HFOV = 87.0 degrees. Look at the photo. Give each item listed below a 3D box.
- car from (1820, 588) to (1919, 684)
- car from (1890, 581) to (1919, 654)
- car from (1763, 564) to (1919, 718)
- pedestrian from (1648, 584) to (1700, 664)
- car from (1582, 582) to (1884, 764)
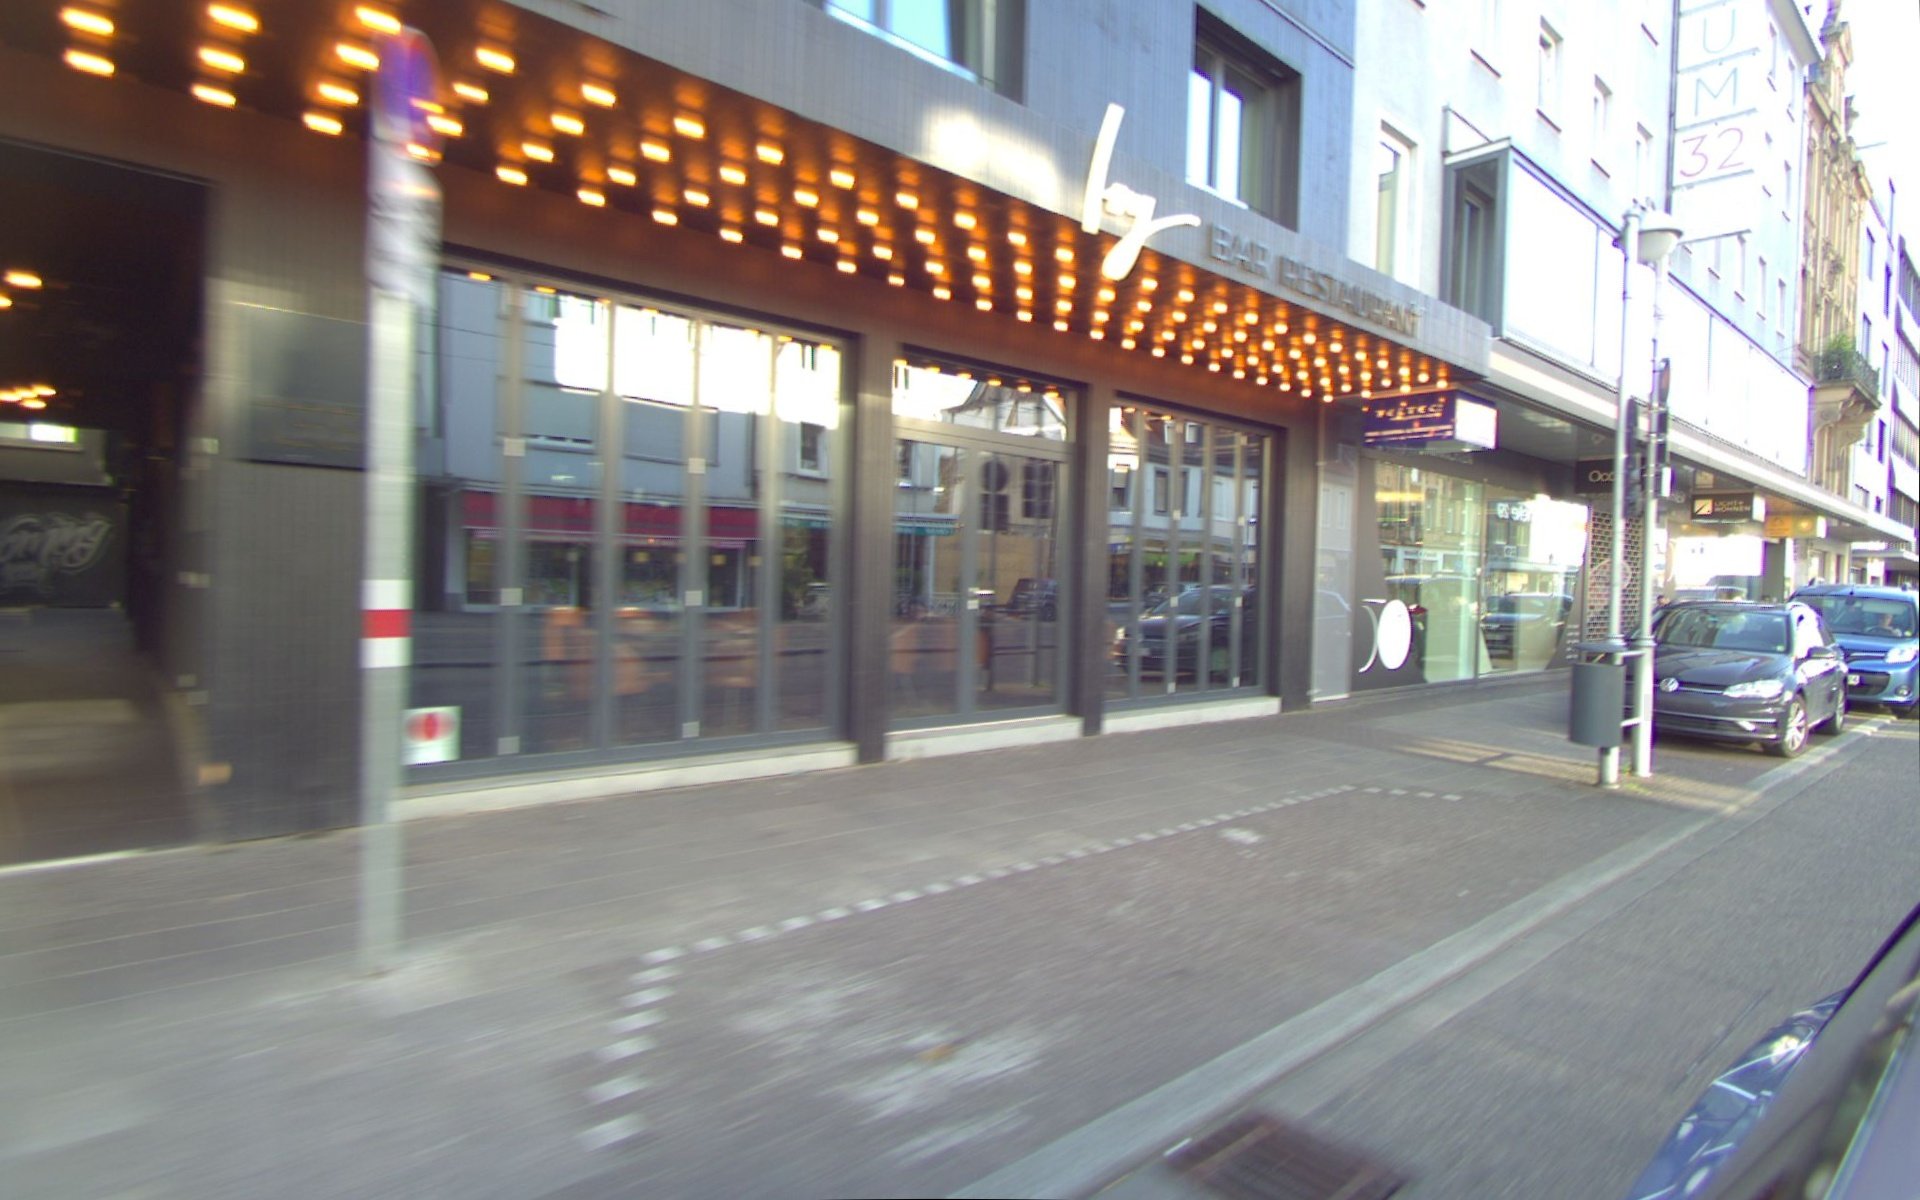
[{"bbox_3d":[17.940,0.622,19.284,4.215,1.596,1.767,0,4,-42],"label":"car"},{"bbox_3d":[27.819,0.484,28.515,4.798,1.933,2.048,0,3,-44],"label":"car"},{"bbox_3d":[13.213,0.482,14.727,4.476,1.882,1.818,-1,3,-45],"label":"car"},{"bbox_3d":[13.563,0.441,19.215,0.718,1.457,0.576,0,4,-41],"label":"pedestrian"},{"bbox_3d":[8.488,0.618,10.965,4.340,1.502,1.725,0,4,-41],"label":"car"}]
